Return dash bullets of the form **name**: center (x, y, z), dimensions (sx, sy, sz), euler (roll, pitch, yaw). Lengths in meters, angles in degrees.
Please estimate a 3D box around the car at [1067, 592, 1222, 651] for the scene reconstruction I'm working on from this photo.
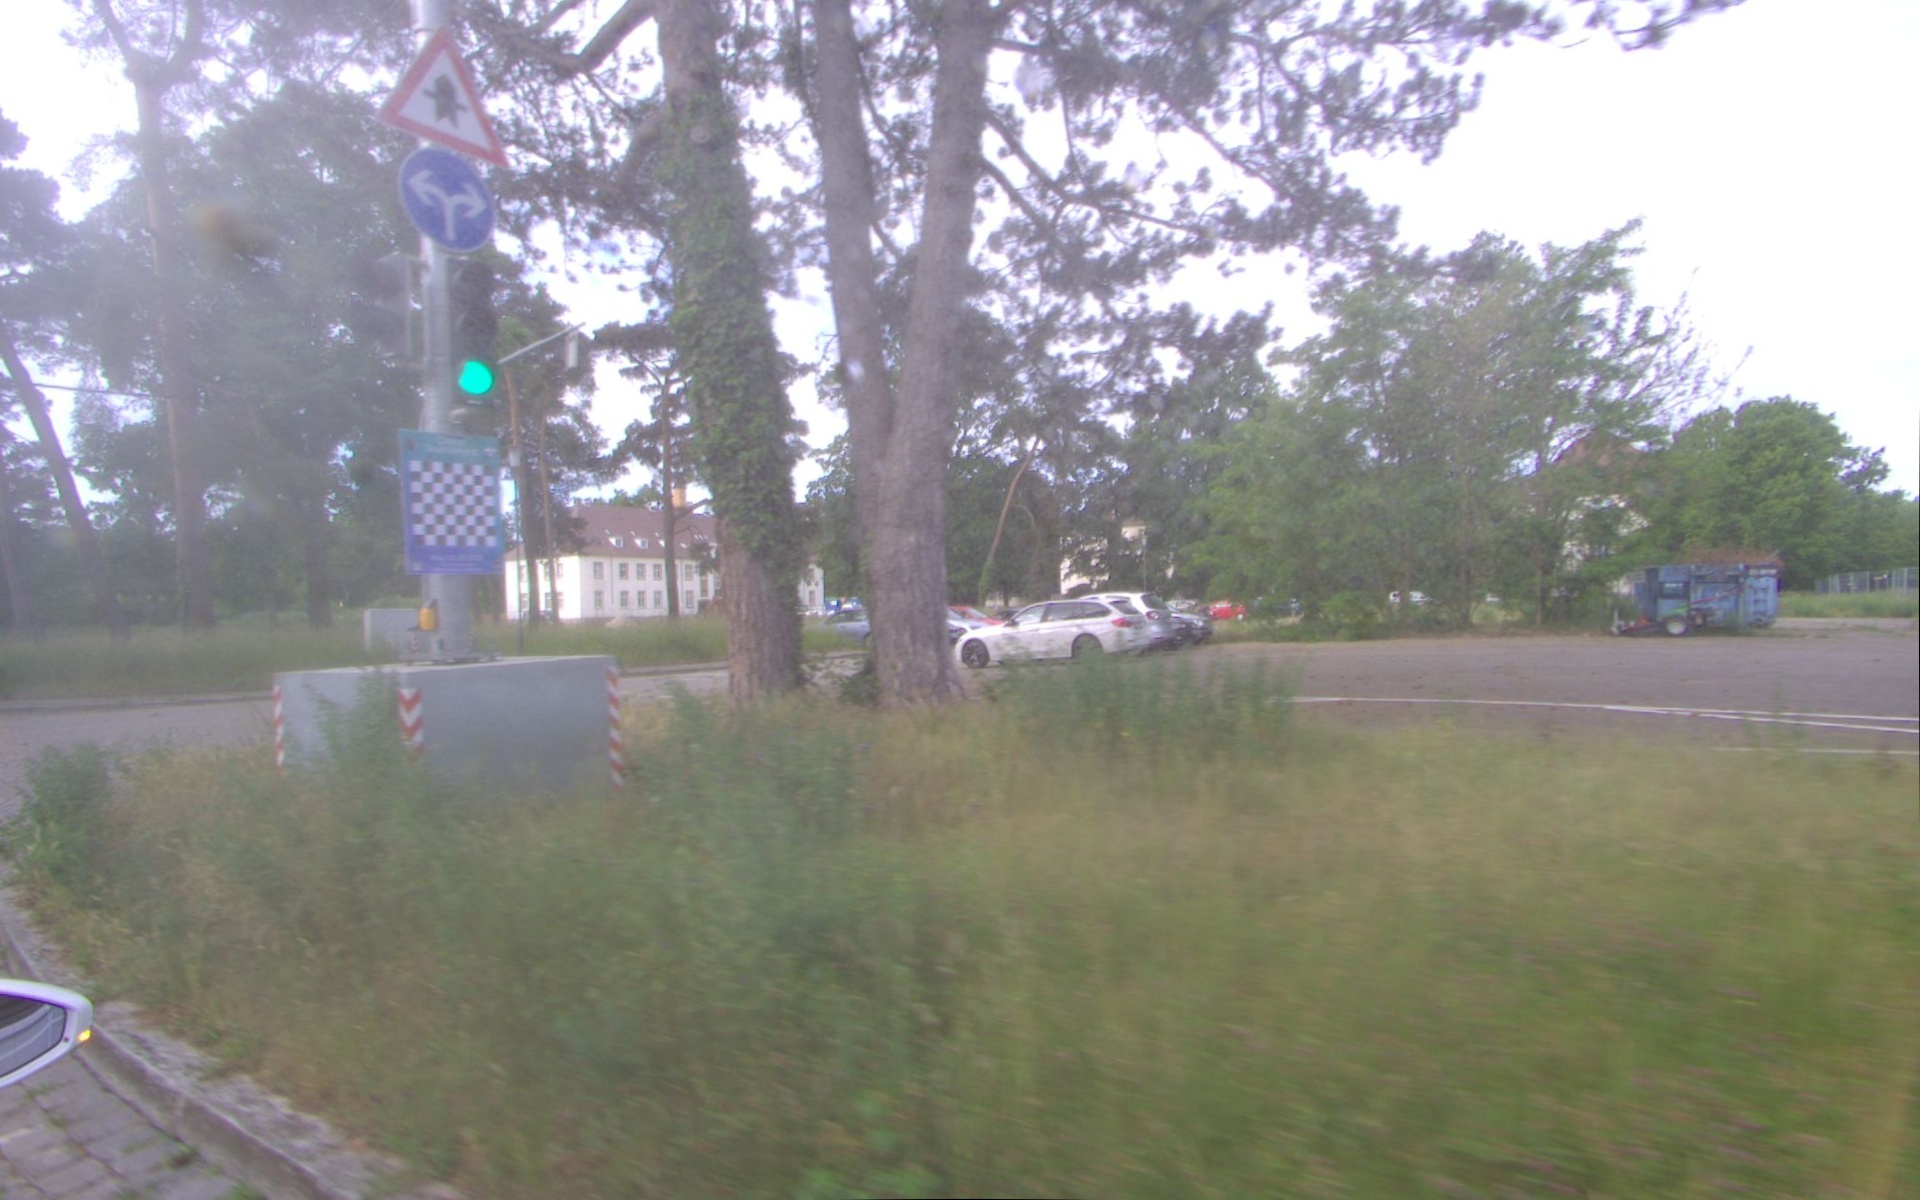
- **car**: center (5.509, 0.651, 30.103), dimensions (4.187, 1.504, 1.696), euler (-4, -1, 34)

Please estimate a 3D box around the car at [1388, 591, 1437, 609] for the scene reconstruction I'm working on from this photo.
- **car**: center (55.589, 0.008, 123.028), dimensions (5.224, 1.980, 2.079), euler (-1, -2, 33)

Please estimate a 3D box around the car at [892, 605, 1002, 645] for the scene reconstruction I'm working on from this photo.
- **car**: center (-0.533, 0.980, 39.292), dimensions (4.190, 1.487, 1.727), euler (-1, 0, 38)

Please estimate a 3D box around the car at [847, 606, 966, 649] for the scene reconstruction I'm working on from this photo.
- **car**: center (-1.993, 0.991, 36.953), dimensions (4.185, 1.487, 1.729), euler (-1, 0, 34)

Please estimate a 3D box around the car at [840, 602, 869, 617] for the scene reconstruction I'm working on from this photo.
- **car**: center (-14.411, 1.286, 136.670), dimensions (1.900, 1.929, 4.056), euler (-1, -2, 30)

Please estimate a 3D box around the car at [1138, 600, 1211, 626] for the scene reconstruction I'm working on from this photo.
- **car**: center (13.371, 0.829, 62.497), dimensions (4.183, 1.541, 1.730), euler (-1, 0, 33)

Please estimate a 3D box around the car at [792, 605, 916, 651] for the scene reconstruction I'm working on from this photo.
- **car**: center (-3.729, 0.956, 34.943), dimensions (4.185, 1.529, 1.729), euler (-1, 0, 34)

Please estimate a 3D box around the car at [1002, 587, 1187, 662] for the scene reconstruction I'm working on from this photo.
- **car**: center (3.342, 0.629, 25.122), dimensions (4.182, 1.626, 1.779), euler (-4, -1, 30)

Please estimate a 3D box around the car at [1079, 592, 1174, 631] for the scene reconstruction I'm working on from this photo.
- **car**: center (9.133, 0.627, 54.983), dimensions (4.725, 2.053, 2.130), euler (-1, 0, 34)

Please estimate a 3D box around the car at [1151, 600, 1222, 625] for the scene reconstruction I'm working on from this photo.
- **car**: center (14.668, 0.823, 64.985), dimensions (4.183, 1.541, 1.730), euler (-1, 0, 33)

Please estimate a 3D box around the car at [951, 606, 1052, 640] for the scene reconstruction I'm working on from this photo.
- **car**: center (1.769, 0.991, 43.392), dimensions (4.190, 1.409, 1.727), euler (-1, 0, 38)

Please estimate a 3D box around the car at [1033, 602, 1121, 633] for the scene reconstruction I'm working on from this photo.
- **car**: center (5.891, 0.881, 50.596), dimensions (4.190, 1.521, 1.610), euler (-1, 0, 38)

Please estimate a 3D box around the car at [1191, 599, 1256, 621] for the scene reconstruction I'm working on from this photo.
- **car**: center (18.710, 0.737, 71.201), dimensions (4.183, 1.541, 1.730), euler (-1, 0, 33)

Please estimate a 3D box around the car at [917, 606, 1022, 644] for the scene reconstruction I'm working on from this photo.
- **car**: center (0.359, 1.035, 41.536), dimensions (4.190, 1.487, 1.727), euler (-1, 0, 38)

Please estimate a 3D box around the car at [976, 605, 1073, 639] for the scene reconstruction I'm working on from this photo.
- **car**: center (2.901, 0.988, 45.777), dimensions (4.190, 1.492, 1.727), euler (-1, 0, 38)

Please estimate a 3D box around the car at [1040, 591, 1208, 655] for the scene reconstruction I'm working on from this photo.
- **car**: center (4.473, 0.656, 27.516), dimensions (4.187, 1.504, 1.696), euler (-4, -1, 34)

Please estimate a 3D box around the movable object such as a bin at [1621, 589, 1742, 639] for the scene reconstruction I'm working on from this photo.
- **movable object such as a bin**: center (17.246, 0.363, 24.008), dimensions (2.176, 1.149, 0.960), euler (-1, -1, 24)

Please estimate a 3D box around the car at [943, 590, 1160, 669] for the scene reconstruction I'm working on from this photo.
- **car**: center (2.050, 0.712, 22.815), dimensions (4.542, 1.505, 1.846), euler (-4, -3, 30)
